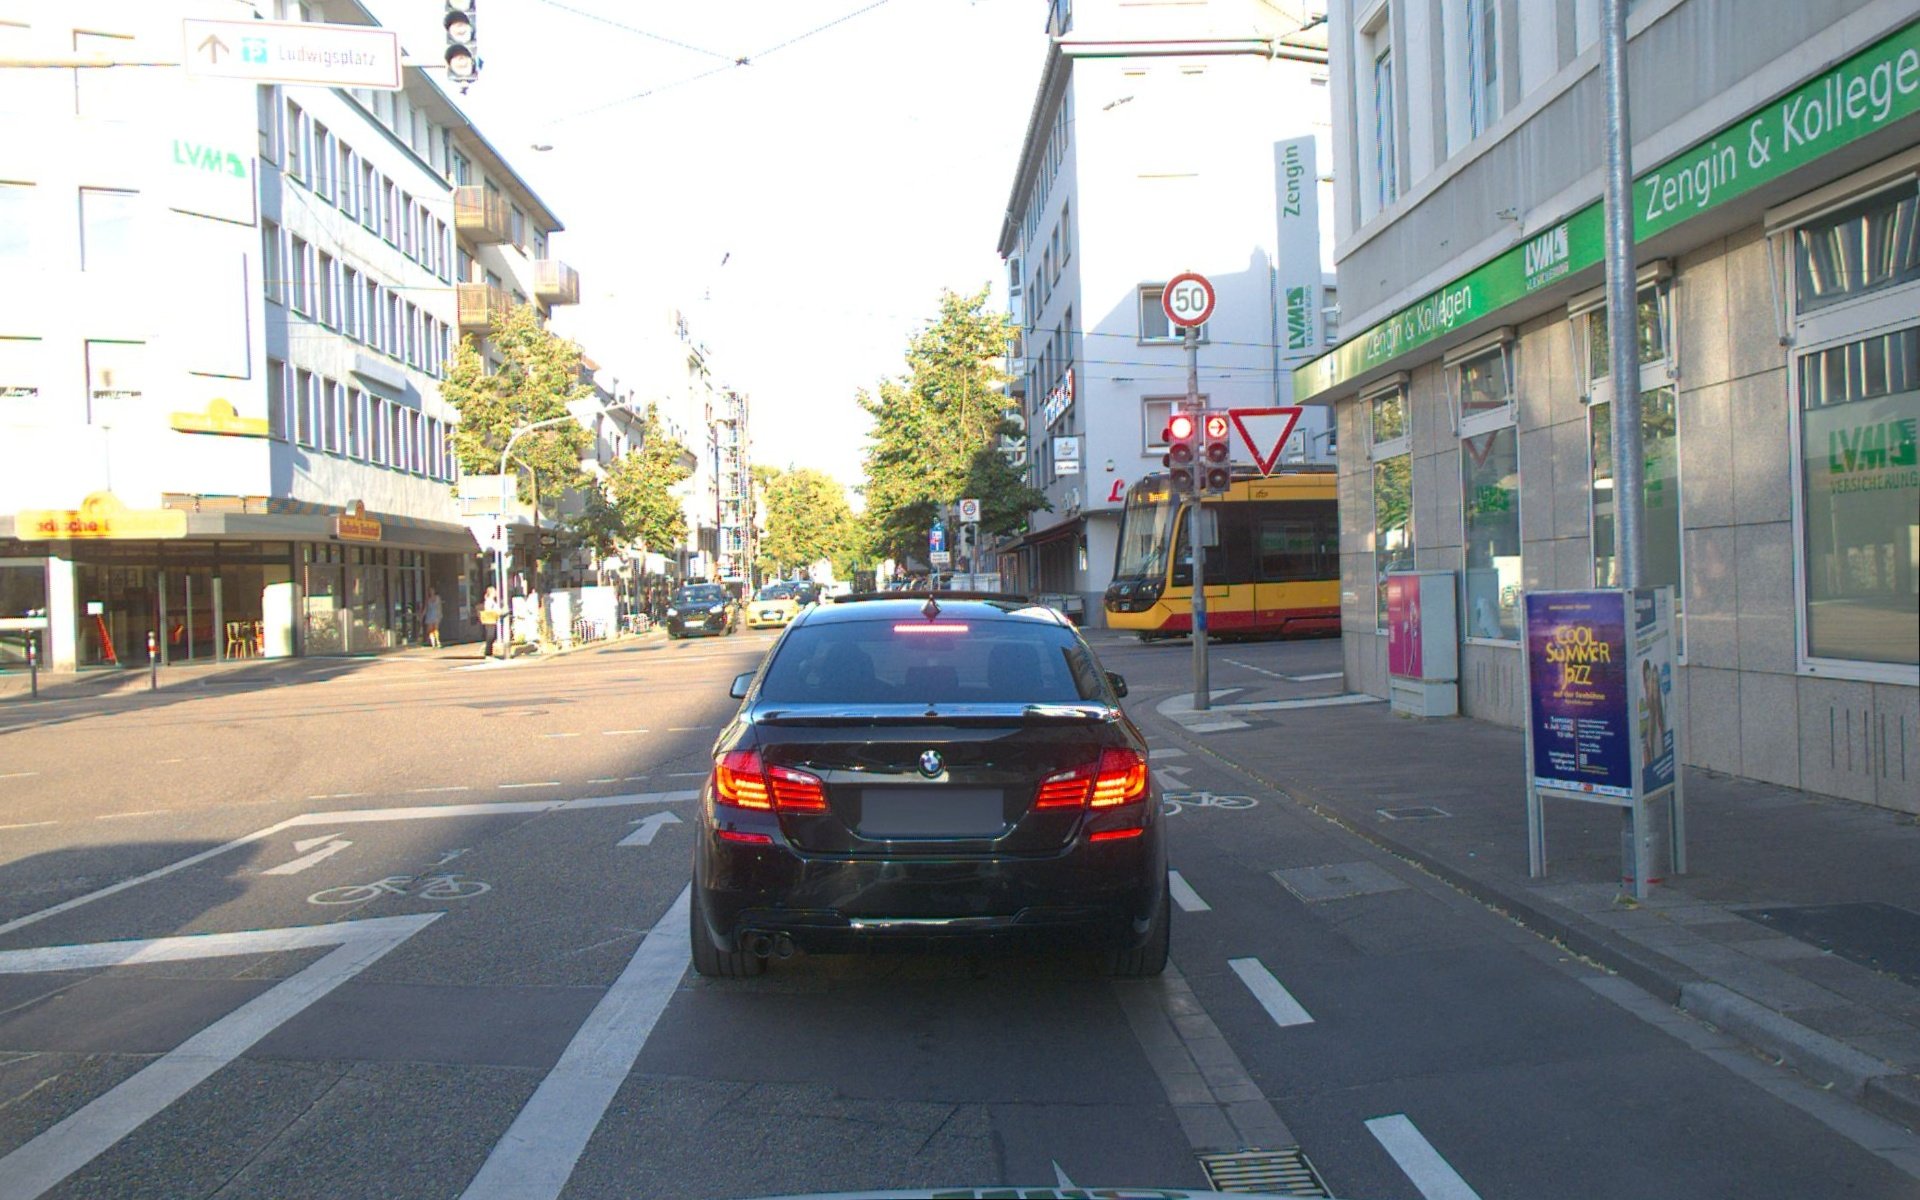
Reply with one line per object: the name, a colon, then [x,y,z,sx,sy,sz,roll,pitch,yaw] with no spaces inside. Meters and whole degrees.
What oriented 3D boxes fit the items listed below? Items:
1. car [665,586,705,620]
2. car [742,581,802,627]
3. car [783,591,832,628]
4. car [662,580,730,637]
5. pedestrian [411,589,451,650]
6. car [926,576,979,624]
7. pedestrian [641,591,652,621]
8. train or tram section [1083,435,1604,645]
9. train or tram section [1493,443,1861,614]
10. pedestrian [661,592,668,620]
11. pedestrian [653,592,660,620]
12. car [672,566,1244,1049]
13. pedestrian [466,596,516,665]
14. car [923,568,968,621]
car: [-13.071,0.128,78.805,1.701,1.487,3.993,-2,1,-8]
car: [-6.581,0.126,57.557,1.956,1.467,3.993,-2,1,-8]
car: [-5.960,0.337,64.325,1.701,1.315,3.993,-2,1,-8]
car: [-8.262,0.238,52.091,1.956,1.646,3.993,-2,1,-8]
pedestrian: [-15.043,0.541,47.045,0.807,1.705,0.871,-2,0,-3]
car: [-0.278,0.007,54.580,1.593,1.497,3.393,-1,0,-3]
pedestrian: [-15.630,0.290,82.388,0.435,1.441,0.525,-2,0,-4]
train or tram section: [8.605,-1.370,35.699,12.498,3.932,3.047,-3,1,-33]
train or tram section: [18.272,-1.847,41.791,10.319,3.877,3.049,-3,1,-31]
pedestrian: [-14.779,0.298,82.754,0.301,1.383,0.284,-2,0,-11]
pedestrian: [-15.154,0.304,82.678,0.301,1.383,0.284,-2,0,-11]
car: [-0.116,0.652,7.645,1.865,1.567,4.447,0,1,-3]
pedestrian: [-11.071,0.715,39.088,0.927,1.564,0.907,-2,0,-6]
car: [-0.544,-0.212,60.976,1.393,1.887,3.049,-1,0,-5]
